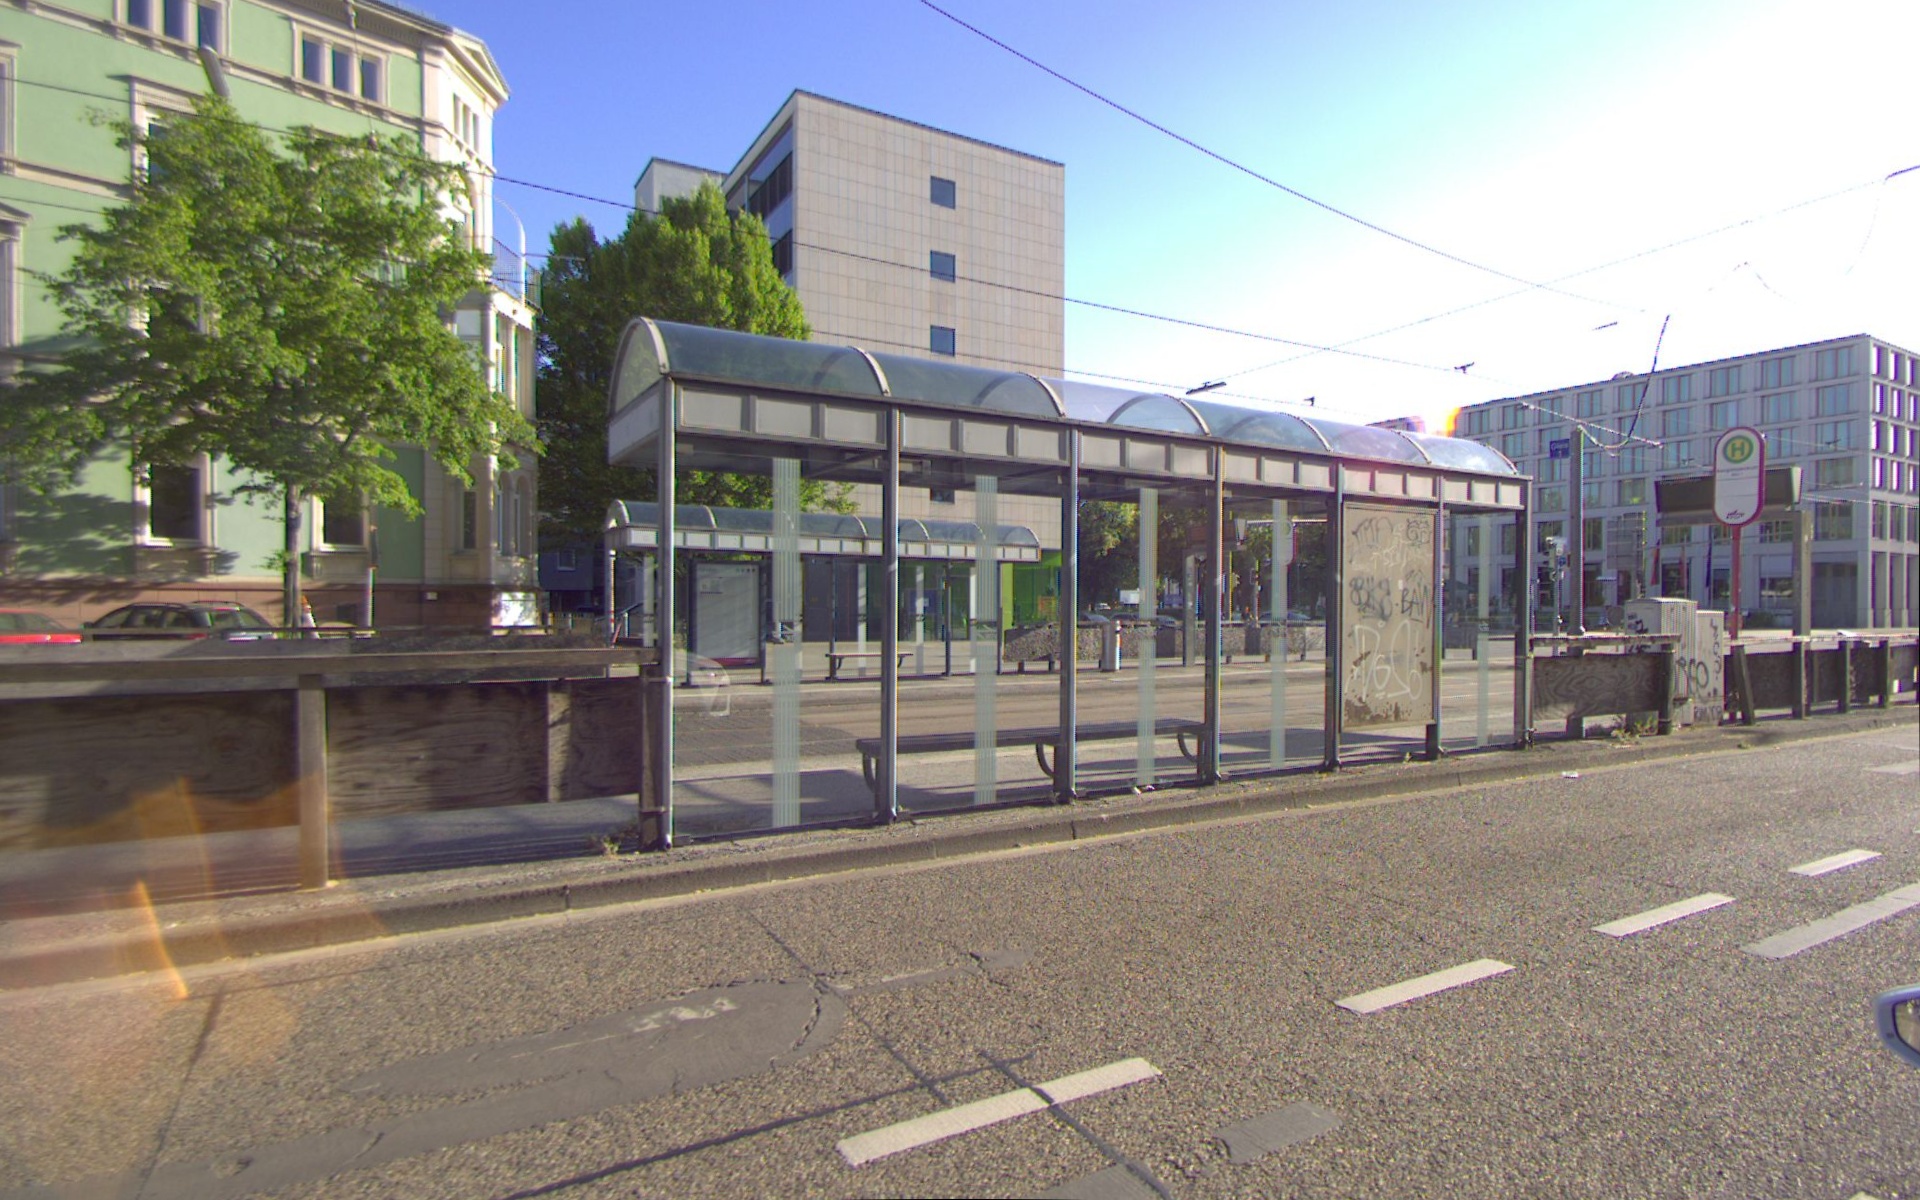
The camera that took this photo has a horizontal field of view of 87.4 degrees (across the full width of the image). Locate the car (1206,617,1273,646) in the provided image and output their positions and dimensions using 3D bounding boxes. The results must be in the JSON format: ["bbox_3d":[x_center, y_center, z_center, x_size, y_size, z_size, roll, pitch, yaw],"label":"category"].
[{"bbox_3d":[15.545,1.725,55.995,1.505,1.526,3.511,0,0,-32],"label":"car"}]

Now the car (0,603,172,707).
[{"bbox_3d":[-15.661,0.823,16.558,4.424,1.444,1.874,2,0,14],"label":"car"}]

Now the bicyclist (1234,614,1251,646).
[{"bbox_3d":[14.531,1.547,51.720,0.589,1.603,0.613,0,0,-41],"label":"bicyclist"}]

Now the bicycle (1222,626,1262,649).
[{"bbox_3d":[14.630,1.926,52.074,0.783,1.137,1.907,0,-1,-39],"label":"bicycle"}]

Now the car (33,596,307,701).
[{"bbox_3d":[-14.569,0.836,18.557,4.424,1.663,1.591,2,0,14],"label":"car"}]

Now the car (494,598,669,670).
[{"bbox_3d":[-9.644,0.820,25.520,4.432,1.590,1.588,2,0,28],"label":"car"}]

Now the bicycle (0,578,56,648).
[{"bbox_3d":[-20.026,0.260,19.990,0.709,1.417,2.991,0,0,45],"label":"bicycle"}]

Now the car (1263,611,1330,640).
[{"bbox_3d":[19.220,1.443,57.460,1.505,1.526,3.511,0,0,-32],"label":"car"}]
